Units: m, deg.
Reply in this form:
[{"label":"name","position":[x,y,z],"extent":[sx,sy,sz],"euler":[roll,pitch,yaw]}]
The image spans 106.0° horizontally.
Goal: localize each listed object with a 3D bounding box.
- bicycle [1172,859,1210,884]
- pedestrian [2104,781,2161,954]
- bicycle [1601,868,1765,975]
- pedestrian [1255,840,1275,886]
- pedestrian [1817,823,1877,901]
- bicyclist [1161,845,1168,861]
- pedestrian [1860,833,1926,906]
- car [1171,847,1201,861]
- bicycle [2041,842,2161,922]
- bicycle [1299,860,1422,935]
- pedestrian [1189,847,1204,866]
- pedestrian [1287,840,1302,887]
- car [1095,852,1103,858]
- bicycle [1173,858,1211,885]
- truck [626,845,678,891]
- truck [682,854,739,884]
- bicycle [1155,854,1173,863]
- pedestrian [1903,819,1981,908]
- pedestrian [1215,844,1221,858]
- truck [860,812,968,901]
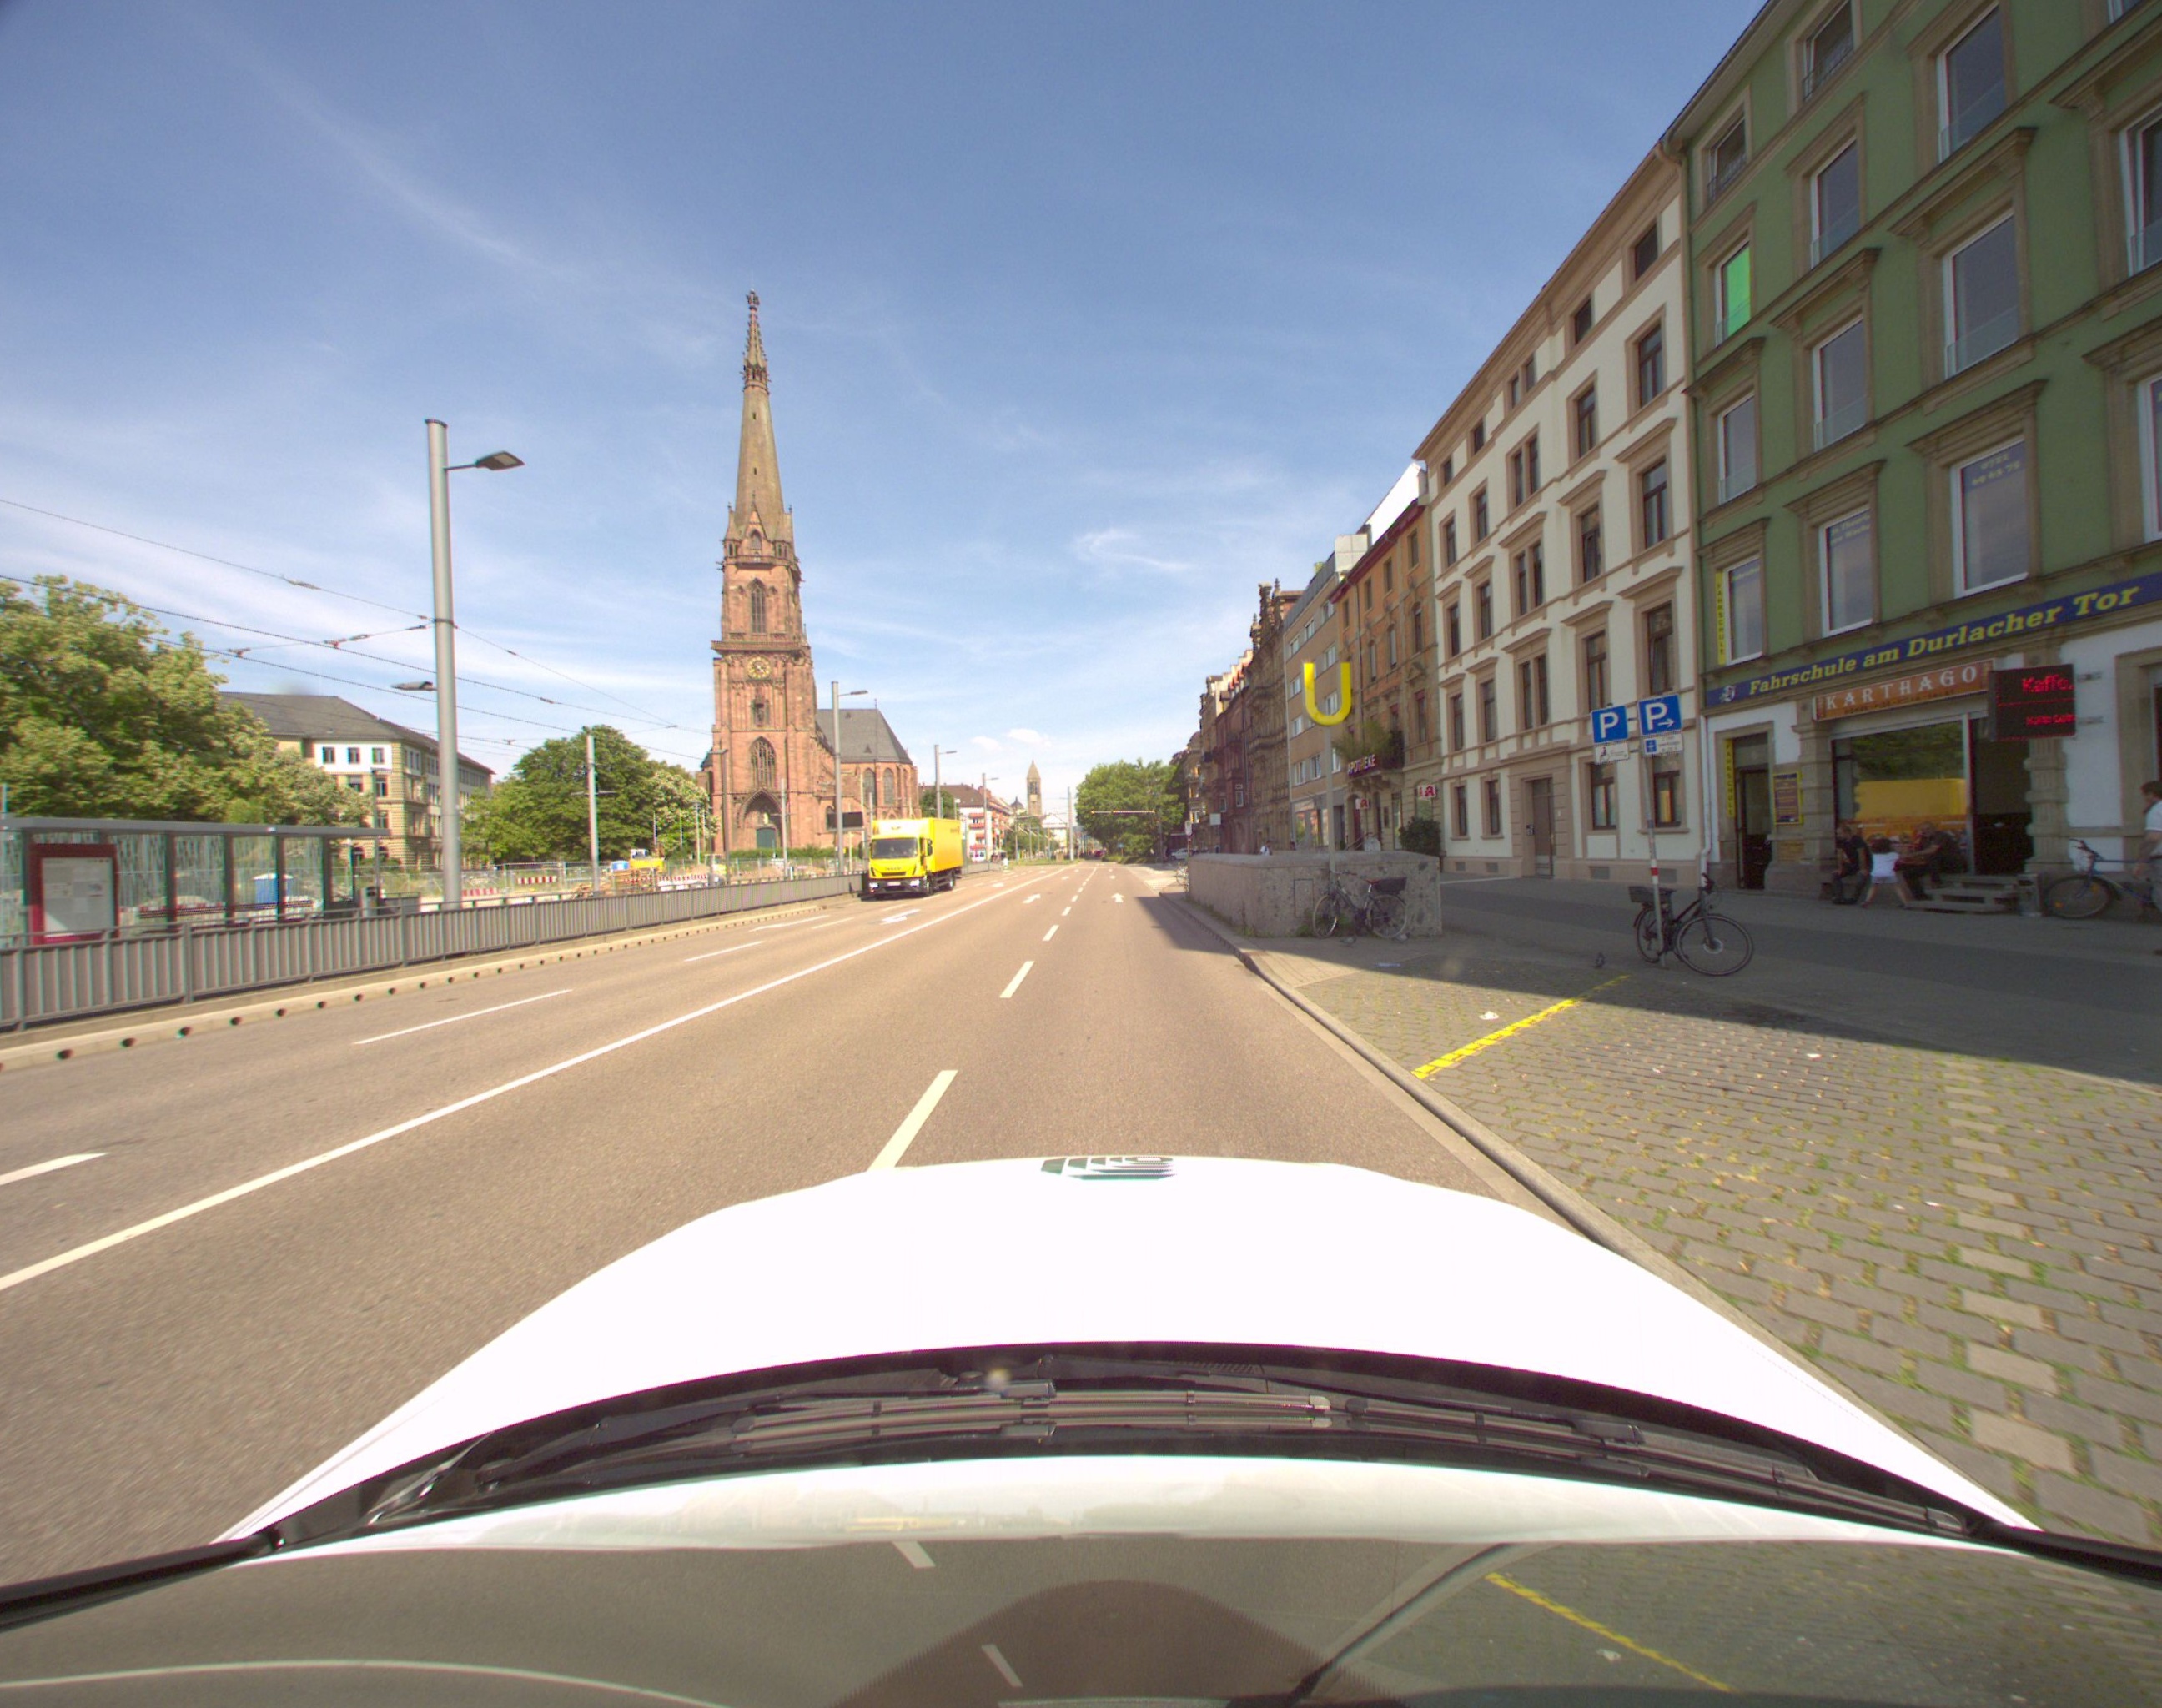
[{"label":"bicycle","position":[4.476,0.716,33.193],"extent":[1.455,0.947,0.415],"euler":[-2,-1,1]},{"label":"pedestrian","position":[11.238,0.127,8.329],"extent":[0.607,1.745,0.704],"euler":[-2,0,2]},{"label":"bicycle","position":[7.112,0.751,9.749],"extent":[0.580,1.094,1.821],"euler":[-5,-1,2]},{"label":"pedestrian","position":[6.678,0.321,29.570],"extent":[0.550,1.665,0.525],"euler":[-2,0,1]},{"label":"pedestrian","position":[13.697,0.144,14.571],"extent":[0.523,1.354,0.530],"euler":[-2,0,1]},{"label":"bicyclist","position":[8.757,-0.101,85.591],"extent":[0.640,1.591,0.481],"euler":[-2,2,-14]},{"label":"pedestrian","position":[13.422,0.246,13.473],"extent":[0.523,1.168,0.530],"euler":[-2,0,1]},{"label":"car","position":[14.429,-0.037,112.427],"extent":[3.970,1.749,2.002],"euler":[-2,2,3]},{"label":"bicycle","position":[13.582,0.347,10.427],"extent":[0.411,0.964,1.780],"euler":[-5,0,1]},{"label":"bicycle","position":[4.471,0.693,13.094],"extent":[1.736,1.094,0.597],"euler":[-2,1,1]},{"label":"pedestrian","position":[8.533,0.168,60.358],"extent":[0.944,1.325,0.822],"euler":[-2,0,-1]},{"label":"pedestrian","position":[7.697,0.355,29.387],"extent":[0.370,1.665,0.525],"euler":[-2,0,2]},{"label":"car","position":[4.588,0.237,211.282],"extent":[1.893,1.376,3.814],"euler":[-2,0,-1]},{"label":"bicycle","position":[4.455,0.706,32.746],"extent":[1.455,0.976,0.416],"euler":[-2,2,1]},{"label":"truck","position":[-36.083,1.158,68.705],"extent":[3.030,3.569,6.000],"euler":[-2,0,-21]},{"label":"truck","position":[-36.215,1.426,79.635],"extent":[4.377,2.678,2.390],"euler":[-2,0,6]},{"label":"bicycle","position":[8.737,0.481,85.597],"extent":[1.821,0.863,0.481],"euler":[-2,2,-14]},{"label":"pedestrian","position":[13.861,0.142,13.122],"extent":[0.523,1.374,0.647],"euler":[-2,0,1]},{"label":"pedestrian","position":[14.562,-0.301,86.594],"extent":[0.531,1.406,0.490],"euler":[-3,2,-5]},{"label":"truck","position":[-7.197,0.111,36.556],"extent":[2.534,3.298,9.031],"euler":[-5,0,1]}]
